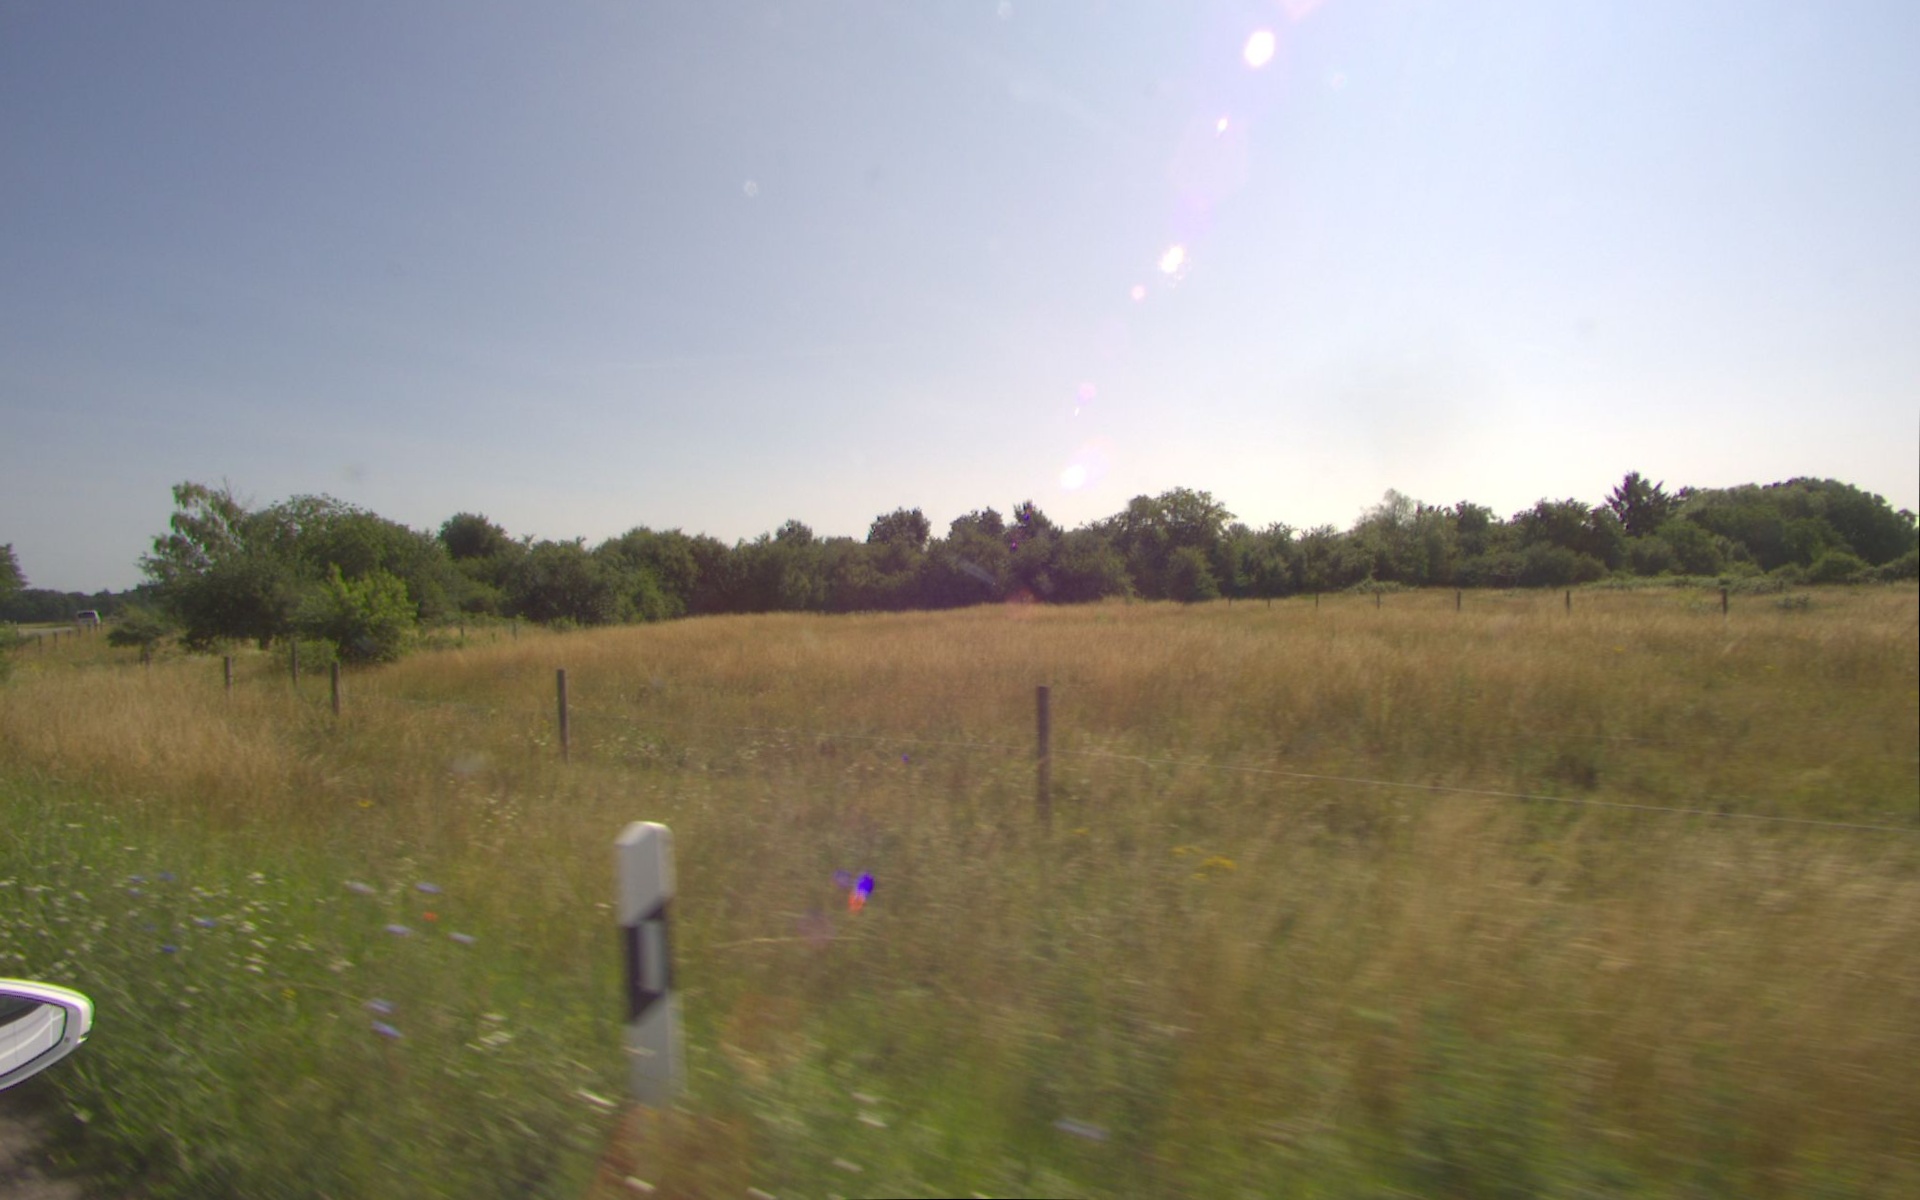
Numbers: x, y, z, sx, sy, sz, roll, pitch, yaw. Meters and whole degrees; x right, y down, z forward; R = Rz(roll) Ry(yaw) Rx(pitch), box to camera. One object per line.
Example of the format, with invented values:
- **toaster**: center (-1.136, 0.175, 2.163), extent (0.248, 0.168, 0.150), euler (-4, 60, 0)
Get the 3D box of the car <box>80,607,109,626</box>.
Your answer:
- **car**: center (-91.292, 1.761, 105.660), extent (1.944, 1.825, 4.132), euler (0, -2, -36)
